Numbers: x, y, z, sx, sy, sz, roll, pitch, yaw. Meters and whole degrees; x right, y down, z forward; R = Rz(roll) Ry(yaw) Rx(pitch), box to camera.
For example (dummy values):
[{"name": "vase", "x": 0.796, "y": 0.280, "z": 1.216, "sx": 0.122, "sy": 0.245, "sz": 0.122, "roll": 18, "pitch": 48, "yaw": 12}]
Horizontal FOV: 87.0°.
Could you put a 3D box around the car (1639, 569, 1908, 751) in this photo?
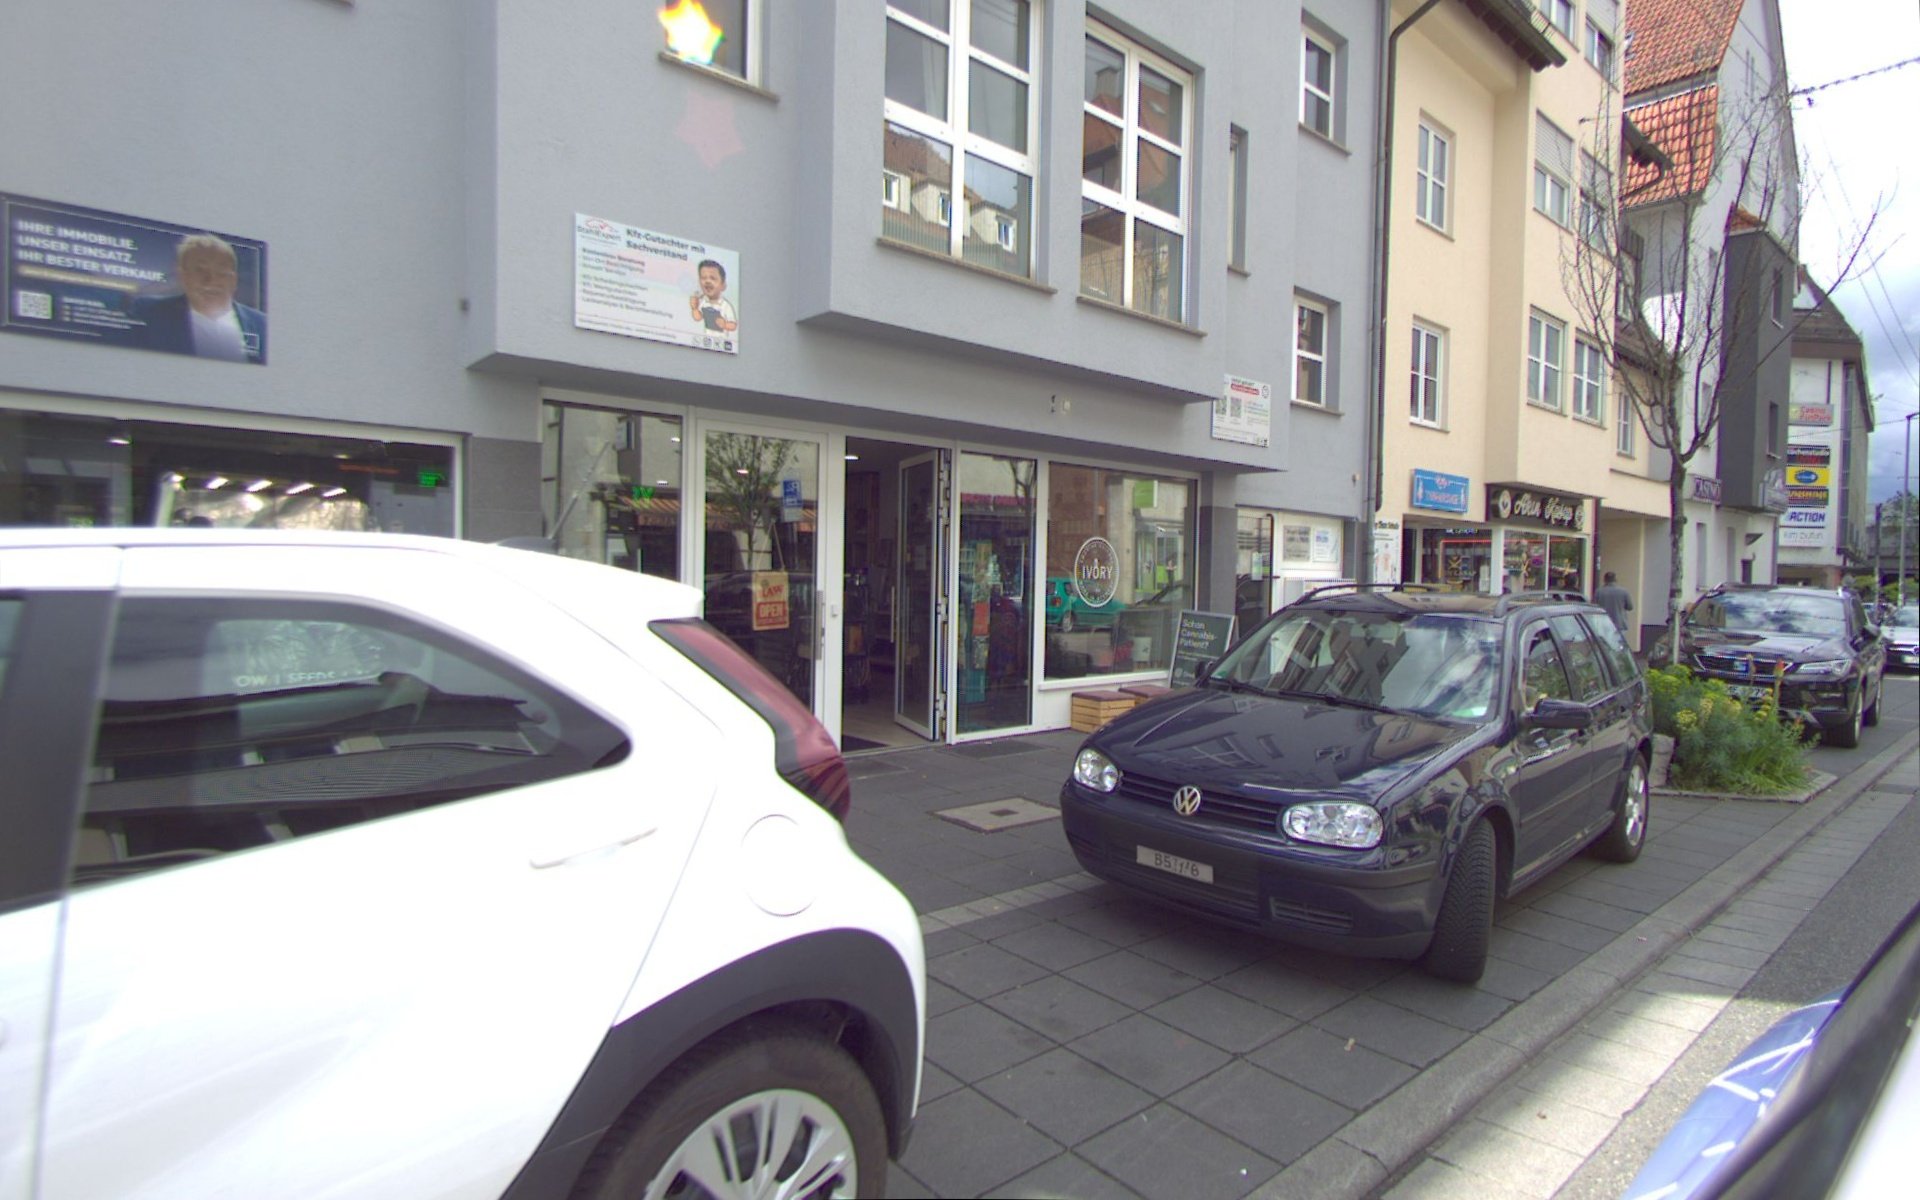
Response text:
[{"name": "car", "x": 9.335, "y": 0.536, "z": 11.490, "sx": 4.134, "sy": 1.623, "sz": 1.802, "roll": 0, "pitch": 3, "yaw": -44}]

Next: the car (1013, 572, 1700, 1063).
[{"name": "car", "x": 2.341, "y": 0.632, "z": 5.243, "sx": 4.226, "sy": 1.458, "sz": 1.691, "roll": -1, "pitch": 5, "yaw": -45}]

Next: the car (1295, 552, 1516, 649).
[{"name": "car", "x": 10.484, "y": -0.072, "z": 24.076, "sx": 1.919, "sy": 1.955, "sz": 4.359, "roll": 0, "pitch": 4, "yaw": -40}]

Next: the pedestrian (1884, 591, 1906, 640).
[{"name": "pedestrian", "x": 32.804, "y": 0.537, "z": 35.510, "sx": 0.570, "sy": 1.724, "sz": 0.474, "roll": 0, "pitch": 0, "yaw": 42}]

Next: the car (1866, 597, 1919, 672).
[{"name": "car", "x": 20.947, "y": 0.689, "z": 21.608, "sx": 4.241, "sy": 1.438, "sz": 1.711, "roll": -1, "pitch": 1, "yaw": -39}]

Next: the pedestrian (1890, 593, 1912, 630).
[{"name": "pedestrian", "x": 40.008, "y": 0.484, "z": 43.017, "sx": 0.469, "sy": 1.582, "sz": 0.660, "roll": -1, "pitch": 0, "yaw": -44}]

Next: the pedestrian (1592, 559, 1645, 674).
[{"name": "pedestrian", "x": 10.157, "y": 0.242, "z": 15.608, "sx": 0.596, "sy": 1.739, "sz": 0.536, "roll": -1, "pitch": 0, "yaw": -42}]

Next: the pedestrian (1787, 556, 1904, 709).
[{"name": "pedestrian", "x": 11.580, "y": 0.387, "z": 13.241, "sx": 0.850, "sy": 1.886, "sz": 0.977, "roll": -1, "pitch": 4, "yaw": -42}]

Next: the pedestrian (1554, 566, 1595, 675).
[{"name": "pedestrian", "x": 9.933, "y": 0.319, "z": 16.364, "sx": 0.528, "sy": 1.739, "sz": 0.436, "roll": -1, "pitch": 0, "yaw": -44}]

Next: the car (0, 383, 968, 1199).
[{"name": "car", "x": -1.886, "y": 0.579, "z": 1.332, "sx": 3.695, "sy": 1.594, "sz": 1.690, "roll": -1, "pitch": 1, "yaw": -45}]

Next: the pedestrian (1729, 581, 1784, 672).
[{"name": "pedestrian", "x": 15.744, "y": 0.505, "z": 20.003, "sx": 0.645, "sy": 1.739, "sz": 0.744, "roll": -1, "pitch": 2, "yaw": -42}]
